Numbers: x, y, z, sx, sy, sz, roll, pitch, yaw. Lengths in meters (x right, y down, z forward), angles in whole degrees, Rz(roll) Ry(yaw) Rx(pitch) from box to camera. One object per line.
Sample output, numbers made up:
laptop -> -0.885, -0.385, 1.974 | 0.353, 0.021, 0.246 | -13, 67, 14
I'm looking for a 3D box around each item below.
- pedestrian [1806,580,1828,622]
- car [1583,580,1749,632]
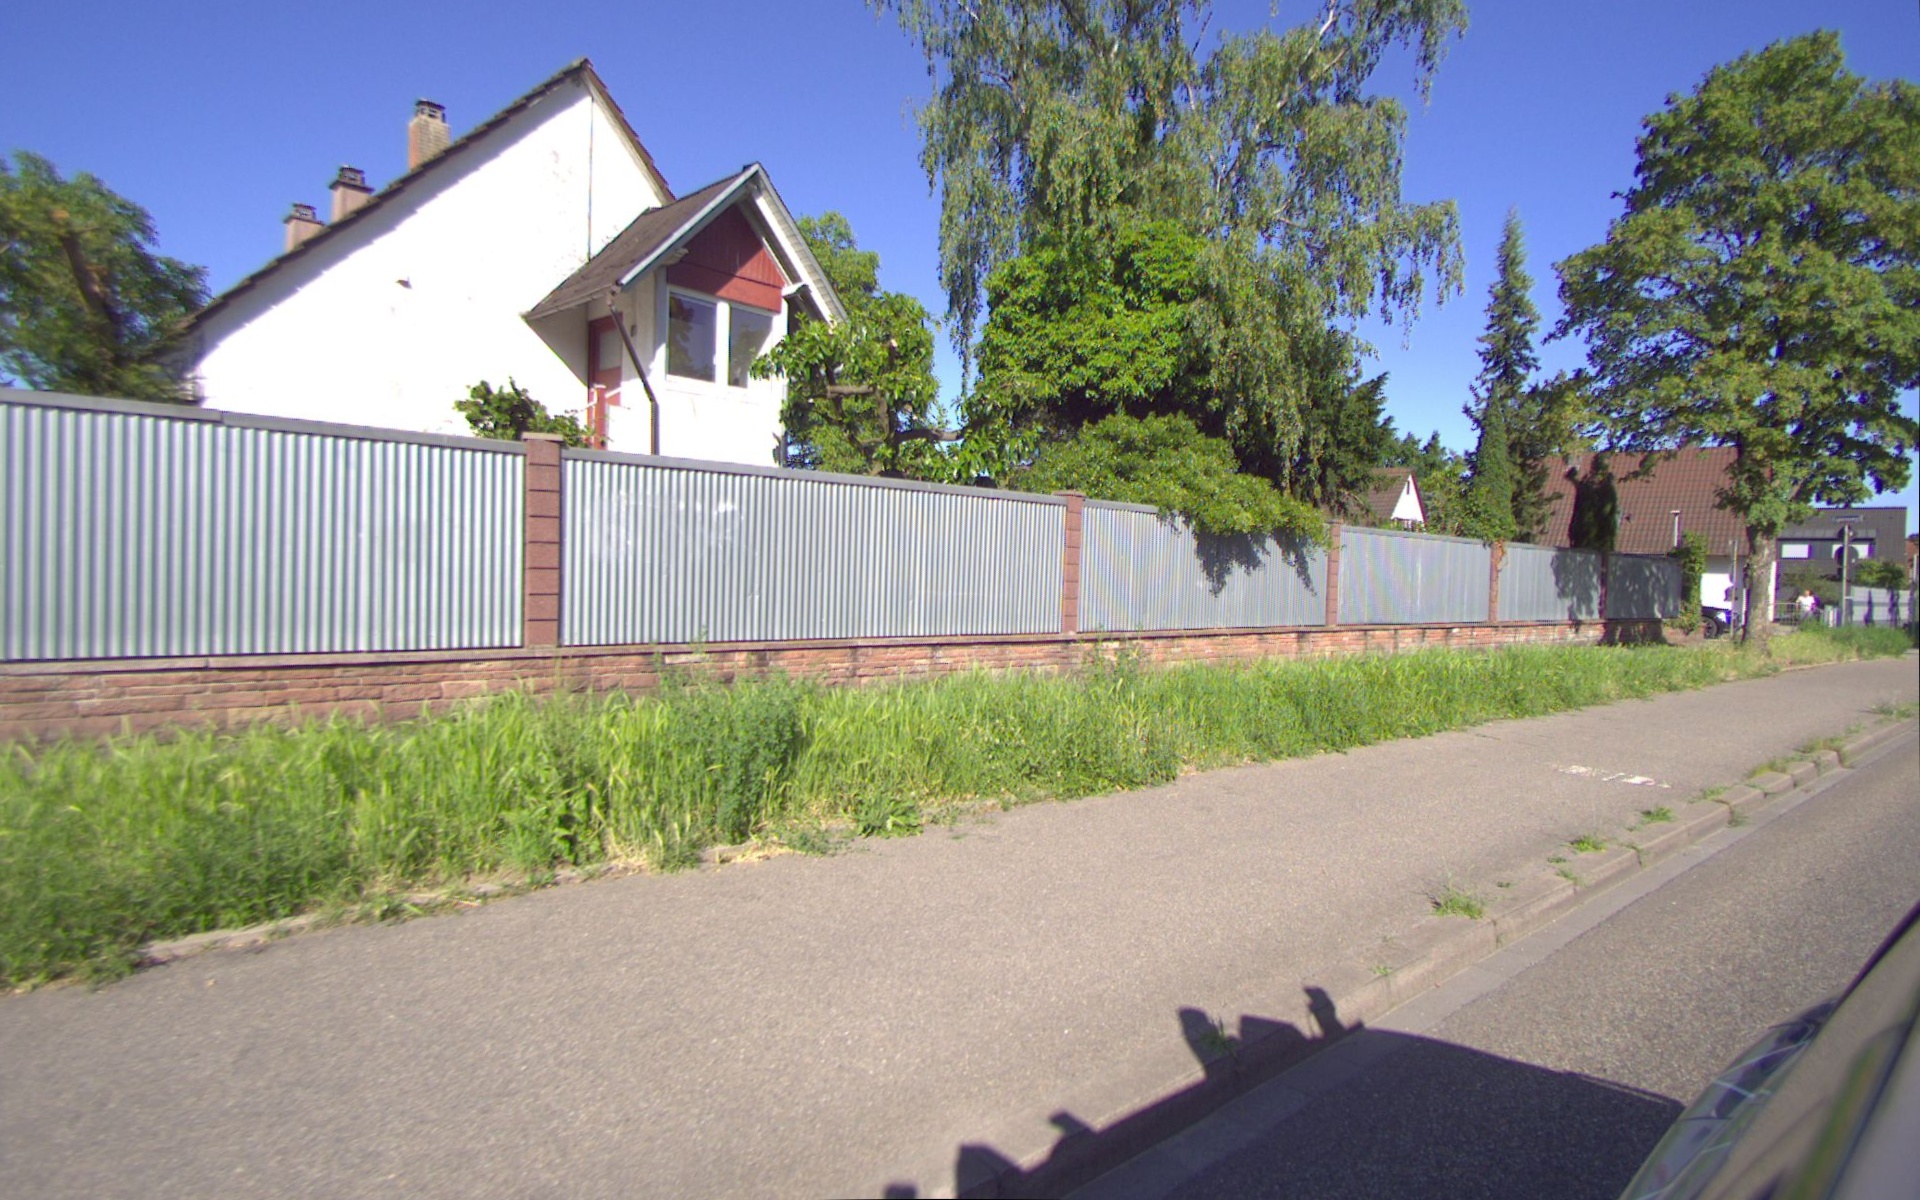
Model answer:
pedestrian -> 35.755, 0.051, 42.228 | 0.627, 1.729, 0.606 | 1, 1, 38
car -> 26.050, 0.185, 37.465 | 4.745, 1.677, 2.038 | 3, 2, 45
